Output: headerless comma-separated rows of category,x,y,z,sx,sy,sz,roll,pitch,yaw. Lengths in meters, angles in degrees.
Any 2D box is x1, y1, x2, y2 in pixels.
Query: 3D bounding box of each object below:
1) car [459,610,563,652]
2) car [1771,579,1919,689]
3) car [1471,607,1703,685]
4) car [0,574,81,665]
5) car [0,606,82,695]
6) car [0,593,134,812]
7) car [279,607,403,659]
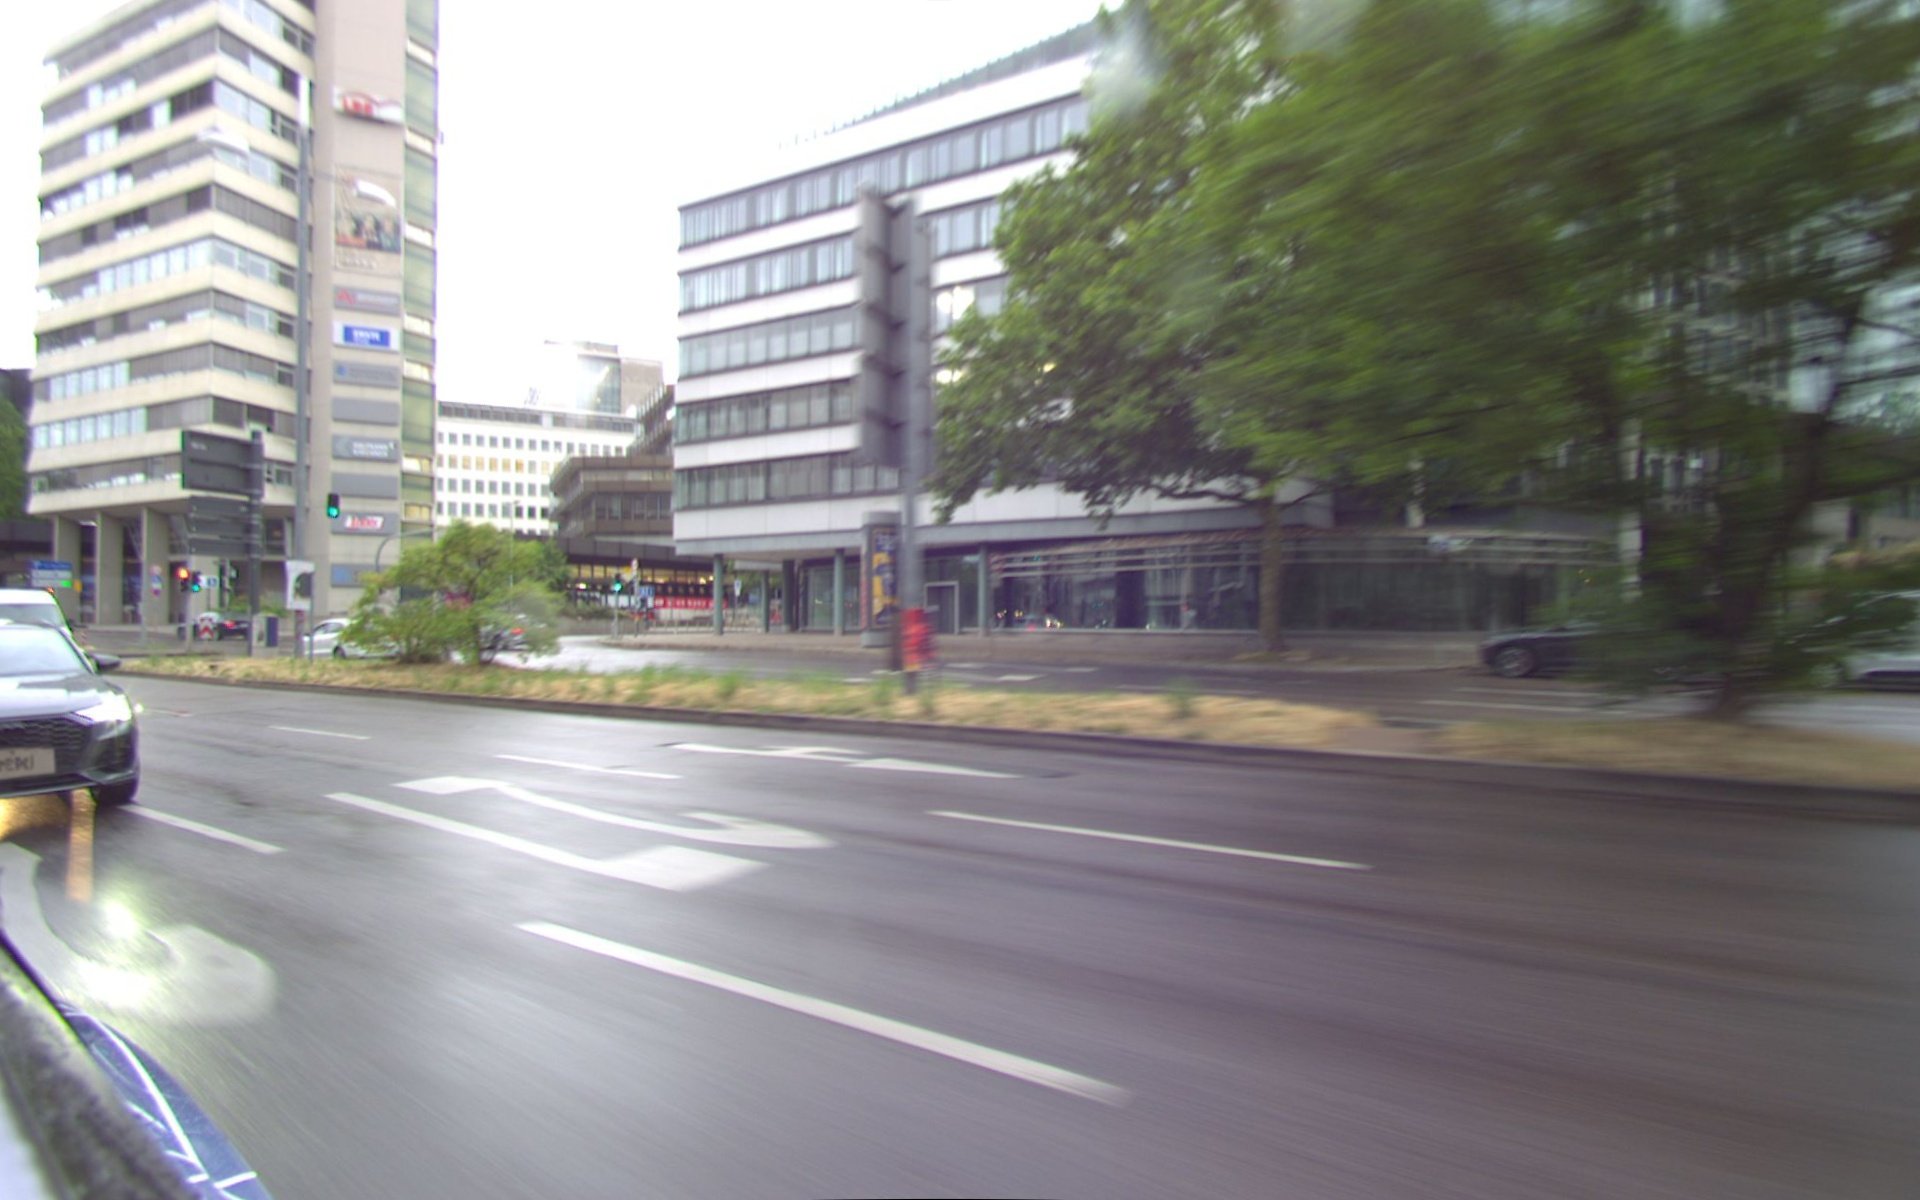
car,-18.817,1.287,42.325,4.471,1.630,1.976,-2,-1,35
car,18.646,0.628,19.238,4.906,2.029,1.976,0,0,36
car,13.918,0.947,22.610,4.278,1.540,1.781,0,0,36
car,-27.304,0.504,28.799,5.708,2.403,2.233,0,0,36
car,-18.093,0.881,18.711,4.115,1.490,1.755,0,0,33
car,-8.497,0.725,8.645,4.390,1.564,1.777,0,0,45
car,-19.368,0.982,31.654,3.958,1.475,1.738,0,0,32
